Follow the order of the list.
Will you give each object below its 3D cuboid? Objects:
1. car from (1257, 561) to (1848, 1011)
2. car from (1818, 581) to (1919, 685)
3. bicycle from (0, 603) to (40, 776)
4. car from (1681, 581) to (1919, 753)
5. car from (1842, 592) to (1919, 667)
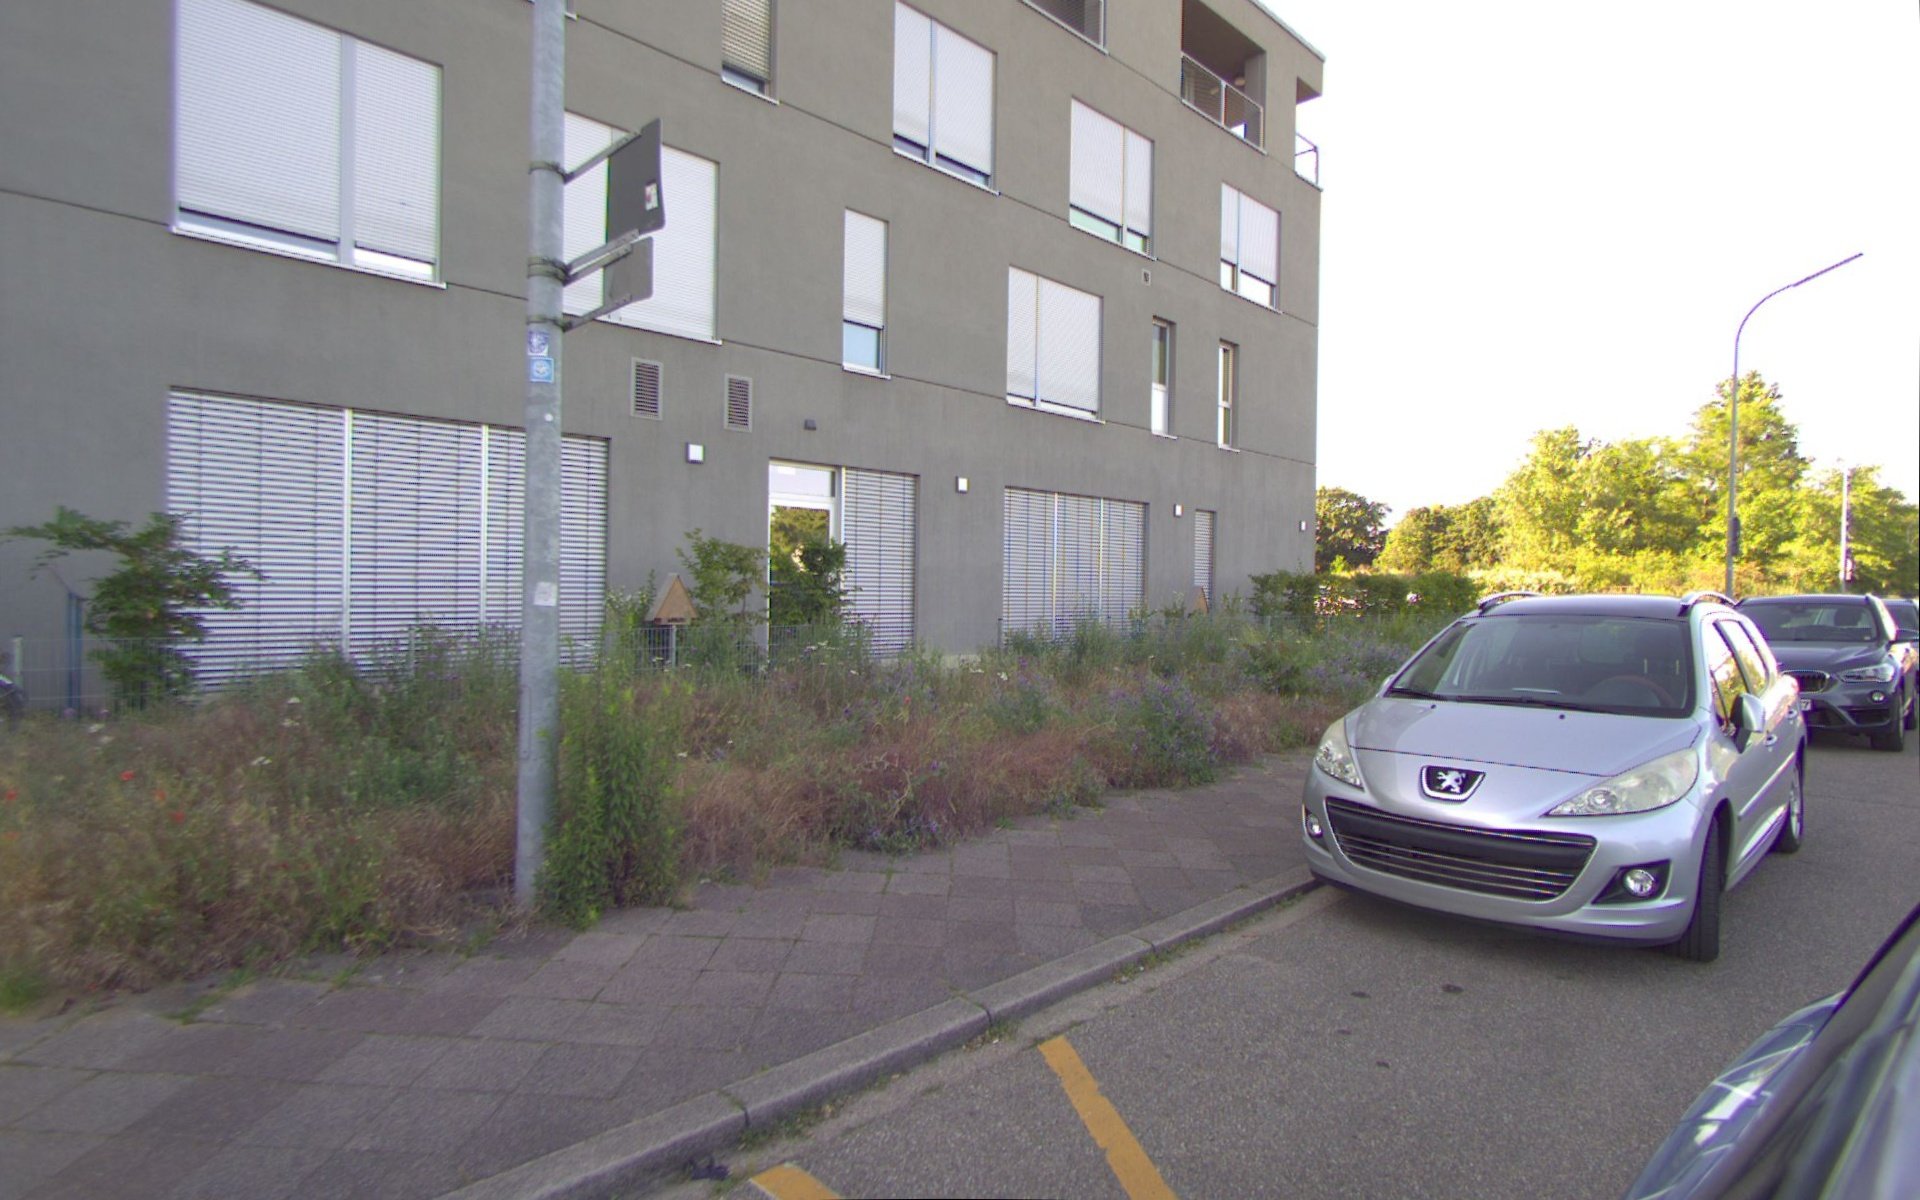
[{"bbox_3d":[3.451,0.631,5.512,4.085,1.545,1.708,0,0,-43],"label":"car"},{"bbox_3d":[17.223,0.553,18.732,1.707,1.727,4.280,-2,-1,45],"label":"car"},{"bbox_3d":[-6.740,0.561,6.044,1.809,1.074,0.553,0,0,-40],"label":"bicycle"},{"bbox_3d":[9.947,0.622,11.632,4.721,1.587,1.747,0,-1,-42],"label":"car"},{"bbox_3d":[20.598,0.608,22.091,3.041,1.546,1.708,0,-1,-43],"label":"car"}]
